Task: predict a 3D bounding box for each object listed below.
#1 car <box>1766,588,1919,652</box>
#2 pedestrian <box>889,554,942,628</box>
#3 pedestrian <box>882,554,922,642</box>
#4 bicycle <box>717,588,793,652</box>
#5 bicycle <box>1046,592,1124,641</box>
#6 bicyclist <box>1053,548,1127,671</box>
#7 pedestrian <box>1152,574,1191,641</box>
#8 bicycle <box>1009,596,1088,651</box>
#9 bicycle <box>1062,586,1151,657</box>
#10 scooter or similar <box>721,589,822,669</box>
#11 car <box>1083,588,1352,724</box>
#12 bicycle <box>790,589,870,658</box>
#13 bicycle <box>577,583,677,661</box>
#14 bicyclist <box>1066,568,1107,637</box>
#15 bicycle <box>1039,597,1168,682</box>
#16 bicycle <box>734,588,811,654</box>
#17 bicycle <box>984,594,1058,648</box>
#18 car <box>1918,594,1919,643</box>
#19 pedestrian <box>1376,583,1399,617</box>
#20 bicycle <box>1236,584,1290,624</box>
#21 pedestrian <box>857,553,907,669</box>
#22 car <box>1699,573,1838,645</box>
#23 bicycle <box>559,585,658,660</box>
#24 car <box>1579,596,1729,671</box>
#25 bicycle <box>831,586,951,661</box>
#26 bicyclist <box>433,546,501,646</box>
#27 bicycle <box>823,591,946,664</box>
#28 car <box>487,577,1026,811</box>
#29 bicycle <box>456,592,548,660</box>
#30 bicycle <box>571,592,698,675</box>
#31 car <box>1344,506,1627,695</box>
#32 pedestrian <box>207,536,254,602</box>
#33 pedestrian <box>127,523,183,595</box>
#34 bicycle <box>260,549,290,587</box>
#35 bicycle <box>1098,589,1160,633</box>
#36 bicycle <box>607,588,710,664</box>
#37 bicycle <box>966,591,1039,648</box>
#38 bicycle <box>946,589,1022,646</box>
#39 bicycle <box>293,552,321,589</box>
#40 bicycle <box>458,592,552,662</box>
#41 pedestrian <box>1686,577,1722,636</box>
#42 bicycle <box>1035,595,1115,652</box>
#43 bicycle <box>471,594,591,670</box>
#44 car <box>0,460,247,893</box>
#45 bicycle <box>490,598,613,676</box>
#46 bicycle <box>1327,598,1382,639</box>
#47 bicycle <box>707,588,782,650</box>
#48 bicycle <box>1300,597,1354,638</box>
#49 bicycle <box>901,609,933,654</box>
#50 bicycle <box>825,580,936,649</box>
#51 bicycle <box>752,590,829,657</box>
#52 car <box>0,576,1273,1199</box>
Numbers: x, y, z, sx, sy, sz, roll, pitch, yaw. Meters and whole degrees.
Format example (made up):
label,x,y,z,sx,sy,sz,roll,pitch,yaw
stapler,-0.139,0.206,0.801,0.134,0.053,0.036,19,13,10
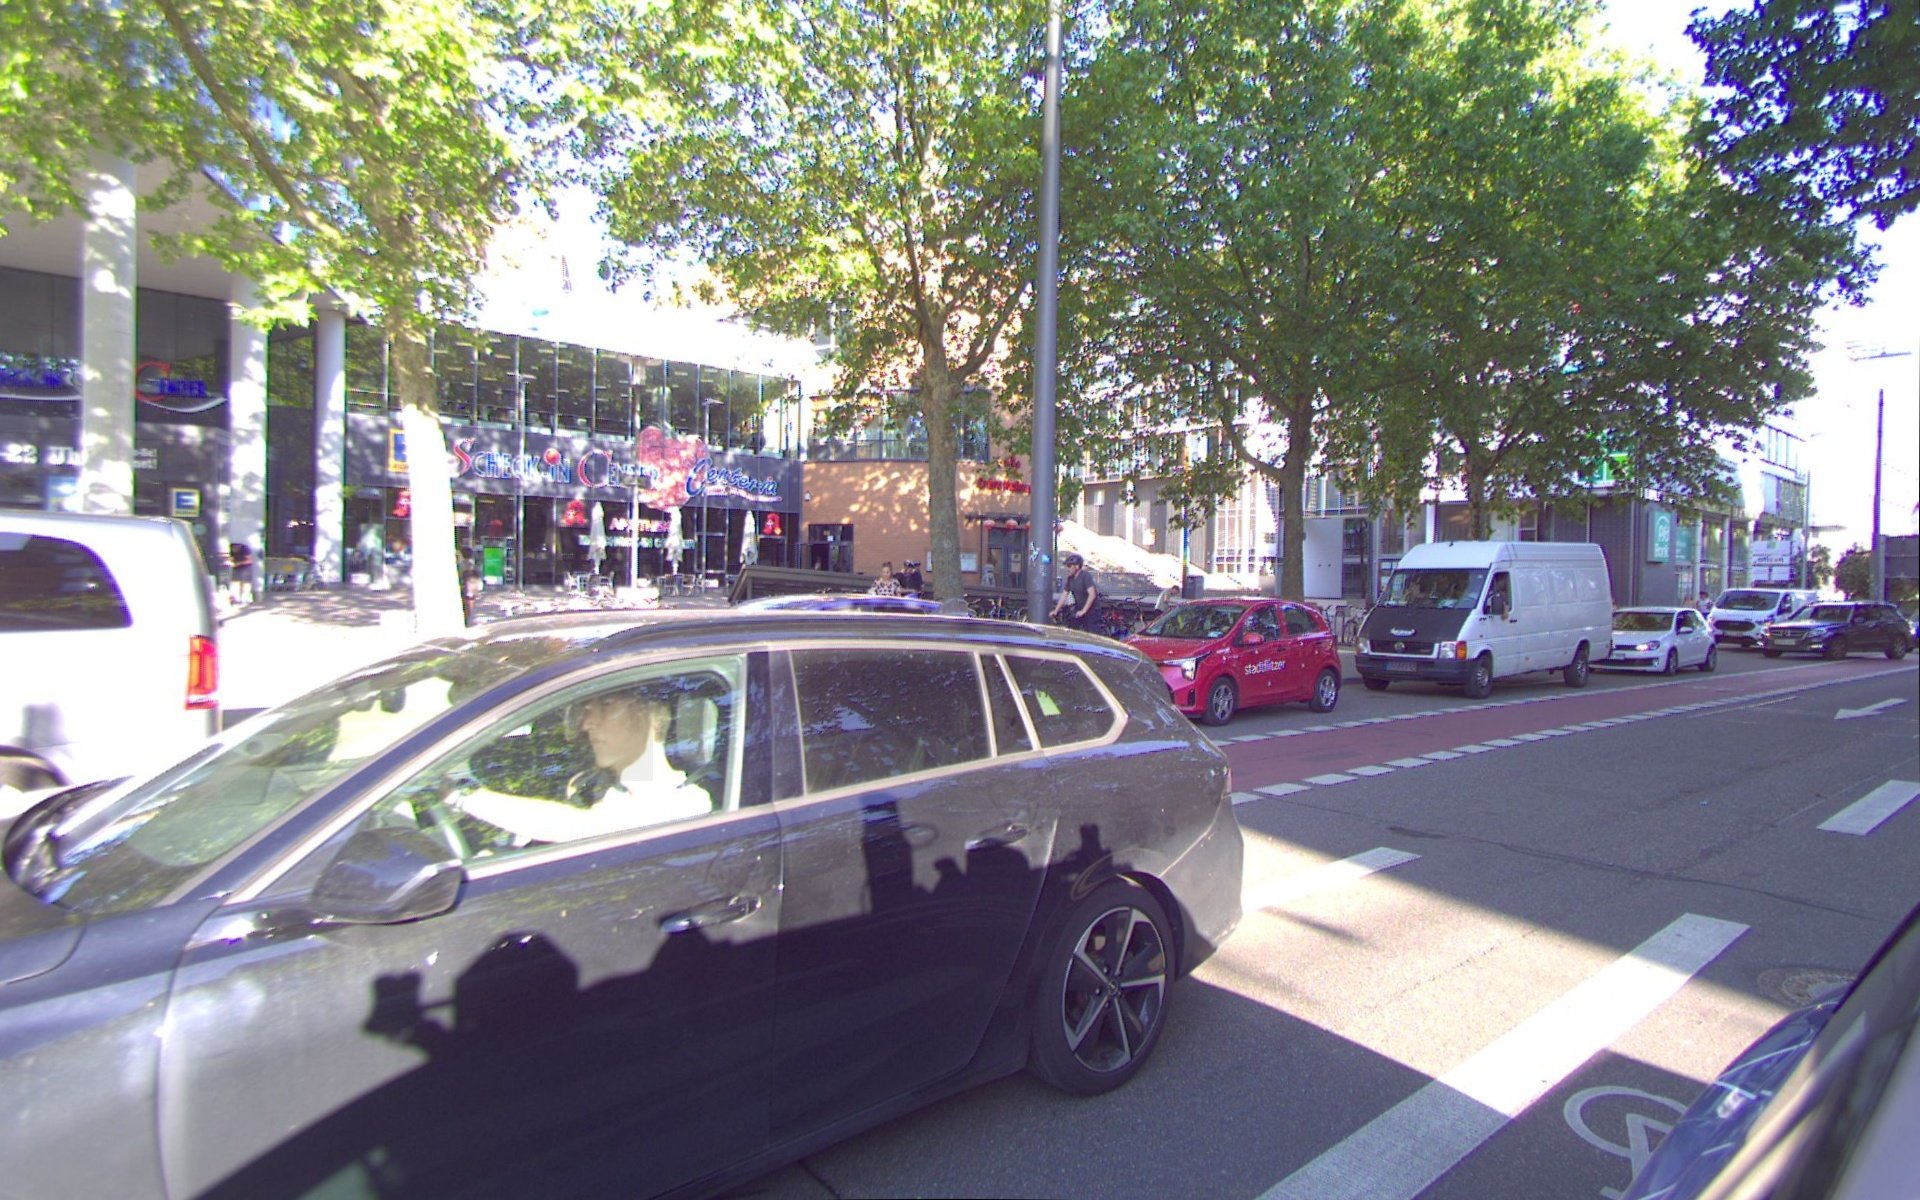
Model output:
label,x,y,z,sx,sy,sz,roll,pitch,yaw
car,25.093,0.550,28.520,3.936,1.658,1.791,1,1,-17
pedestrian,-1.103,-0.238,24.924,1.000,1.779,0.789,0,1,-35
pedestrian,-1.215,-0.048,21.159,0.755,1.779,0.821,1,1,-6
bicycle,-3.889,0.358,19.314,0.420,1.174,1.455,2,1,41
bicycle,3.006,0.389,24.409,1.741,1.140,0.569,1,1,-11
bicyclist,1.878,0.122,14.648,0.702,1.709,0.752,1,1,-39
pedestrian,5.365,0.183,25.696,0.623,1.651,0.719,1,1,-34
bicycle,1.784,0.461,20.334,1.626,1.044,0.596,0,2,-41
bicycle,2.814,0.387,19.344,1.843,1.280,0.596,0,1,-41
scooter or similar,-2.929,0.441,15.712,1.249,1.156,0.905,-2,0,37
car,3.335,0.600,12.813,3.558,1.482,1.561,0,1,-41
bicycle,-2.329,0.398,18.246,0.478,1.174,1.455,2,1,41
bicycle,-5.223,0.331,15.922,1.451,1.174,0.421,0,1,-42
bicyclist,3.057,0.059,24.417,0.804,1.636,0.565,1,1,-11
bicycle,2.106,0.541,14.654,2.089,1.135,0.551,0,2,-40
bicycle,-3.500,0.372,18.939,0.420,1.174,1.455,2,1,41
bicycle,1.266,0.416,20.896,1.626,1.044,0.503,0,1,-41
car,33.334,0.627,33.209,3.921,1.593,1.763,0,1,-31
pedestrian,18.934,0.005,44.810,0.589,1.474,0.713,1,1,-37
bicycle,8.512,0.109,28.403,1.624,1.060,0.597,0,1,-37
pedestrian,-1.263,0.162,16.246,0.644,1.808,0.810,1,1,-14
car,26.263,0.250,32.826,5.189,2.160,2.130,0,2,-35
bicycle,-5.680,0.348,16.403,1.450,1.174,0.421,0,1,-40
car,15.353,0.674,22.332,3.798,1.482,1.671,0,2,-38
bicycle,-1.088,0.360,15.891,1.788,1.130,0.598,1,1,-12
bicyclist,-9.070,-0.088,18.630,0.838,1.789,0.751,1,1,8
bicycle,-1.243,0.447,16.592,1.908,1.130,0.598,1,1,-12
car,-1.541,0.587,8.561,4.143,1.482,1.768,0,2,-41
bicycle,-7.200,0.404,15.951,1.293,1.038,0.397,1,1,-24
bicycle,-4.469,0.442,13.946,1.542,1.070,0.630,0,1,-35
car,9.315,0.003,17.616,6.443,2.759,1.998,0,0,-39
pedestrian,-18.873,-0.805,26.190,0.851,1.661,0.966,0,1,-44
pedestrian,-21.435,-1.082,26.961,0.834,1.866,1.002,1,1,-15
bicycle,-21.484,-0.996,31.750,0.705,1.142,1.921,1,2,-32
bicycle,4.516,0.295,27.048,1.622,1.140,0.598,0,1,-32
bicycle,-4.577,0.380,15.416,1.451,1.095,0.421,0,1,-42
bicycle,0.907,0.392,21.322,1.626,1.151,0.503,0,1,-41
bicycle,0.529,0.354,21.742,1.662,1.174,0.479,0,1,-37
bicycle,-20.790,-0.952,32.243,0.705,1.142,1.921,1,2,-32
bicycle,-6.961,0.405,15.511,1.293,1.038,0.397,1,1,-24
pedestrian,25.873,0.223,35.192,0.652,2.039,0.809,0,0,-34
bicycle,2.260,0.439,19.812,1.626,1.044,0.596,0,2,-41
bicycle,-6.210,0.441,14.695,1.546,1.038,0.461,0,2,-43
car,-6.268,0.350,4.386,5.047,1.991,1.997,0,0,-41
bicycle,-5.752,0.495,14.293,1.546,1.038,0.461,0,2,-43
bicycle,10.615,0.487,27.212,1.624,1.060,0.597,0,1,-37
bicycle,-4.203,0.354,19.785,0.420,1.174,1.455,2,1,41
bicycle,10.091,0.472,27.833,1.624,1.060,0.597,0,1,-37
bicycle,-0.810,0.572,18.852,0.391,0.770,1.114,1,1,-13
bicycle,-1.365,0.242,17.306,1.788,1.130,0.598,1,1,-12
bicycle,-3.101,0.411,18.653,0.420,1.174,1.455,2,1,41
car,-1.125,0.684,2.775,4.270,1.443,1.825,0,0,-41
